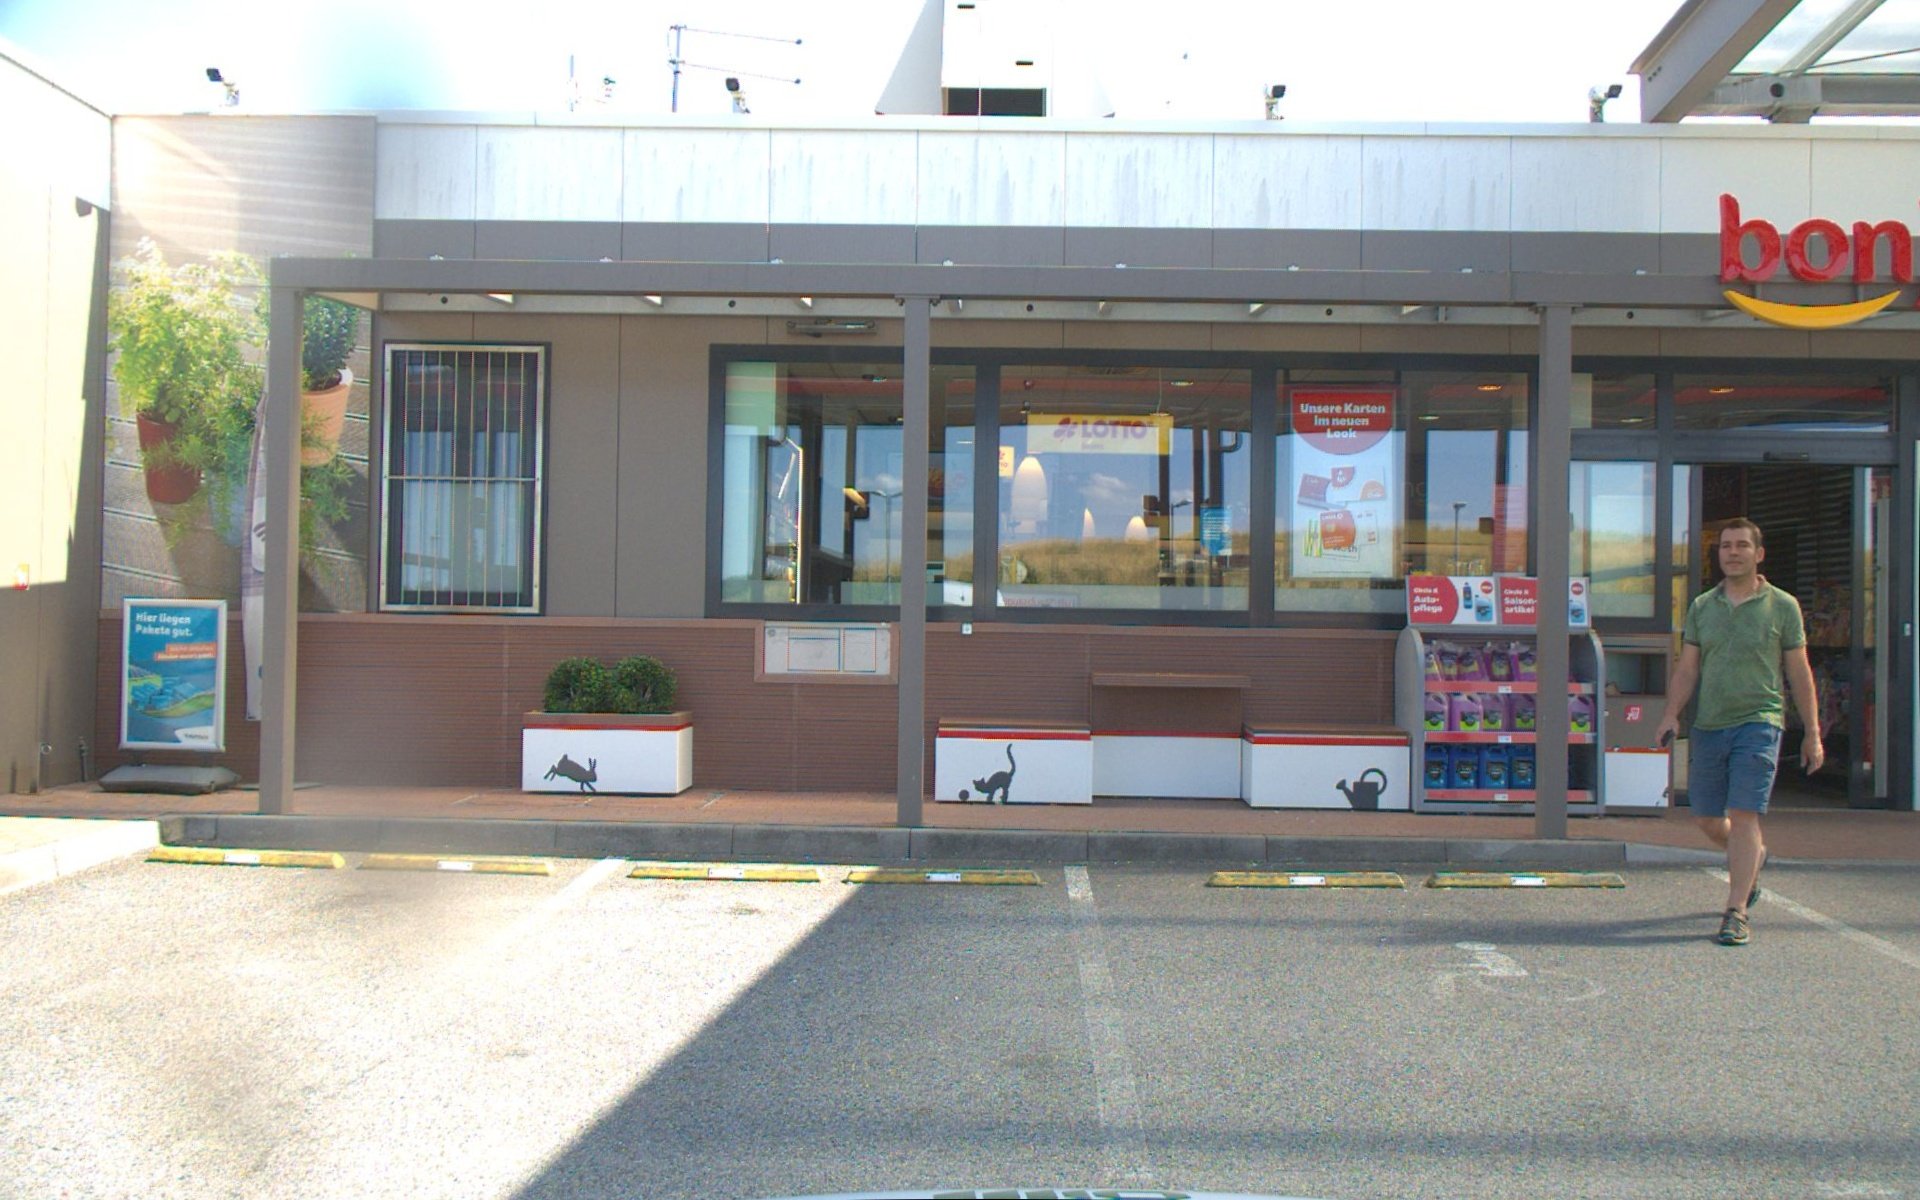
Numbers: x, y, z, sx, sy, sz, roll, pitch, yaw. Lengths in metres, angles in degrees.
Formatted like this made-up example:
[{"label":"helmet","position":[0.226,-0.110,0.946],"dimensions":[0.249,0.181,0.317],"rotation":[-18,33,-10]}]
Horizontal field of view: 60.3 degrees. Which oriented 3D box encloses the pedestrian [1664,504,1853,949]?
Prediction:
[{"label":"pedestrian","position":[3.556,0.518,7.344],"dimensions":[0.688,1.829,0.861],"rotation":[0,0,30]}]
